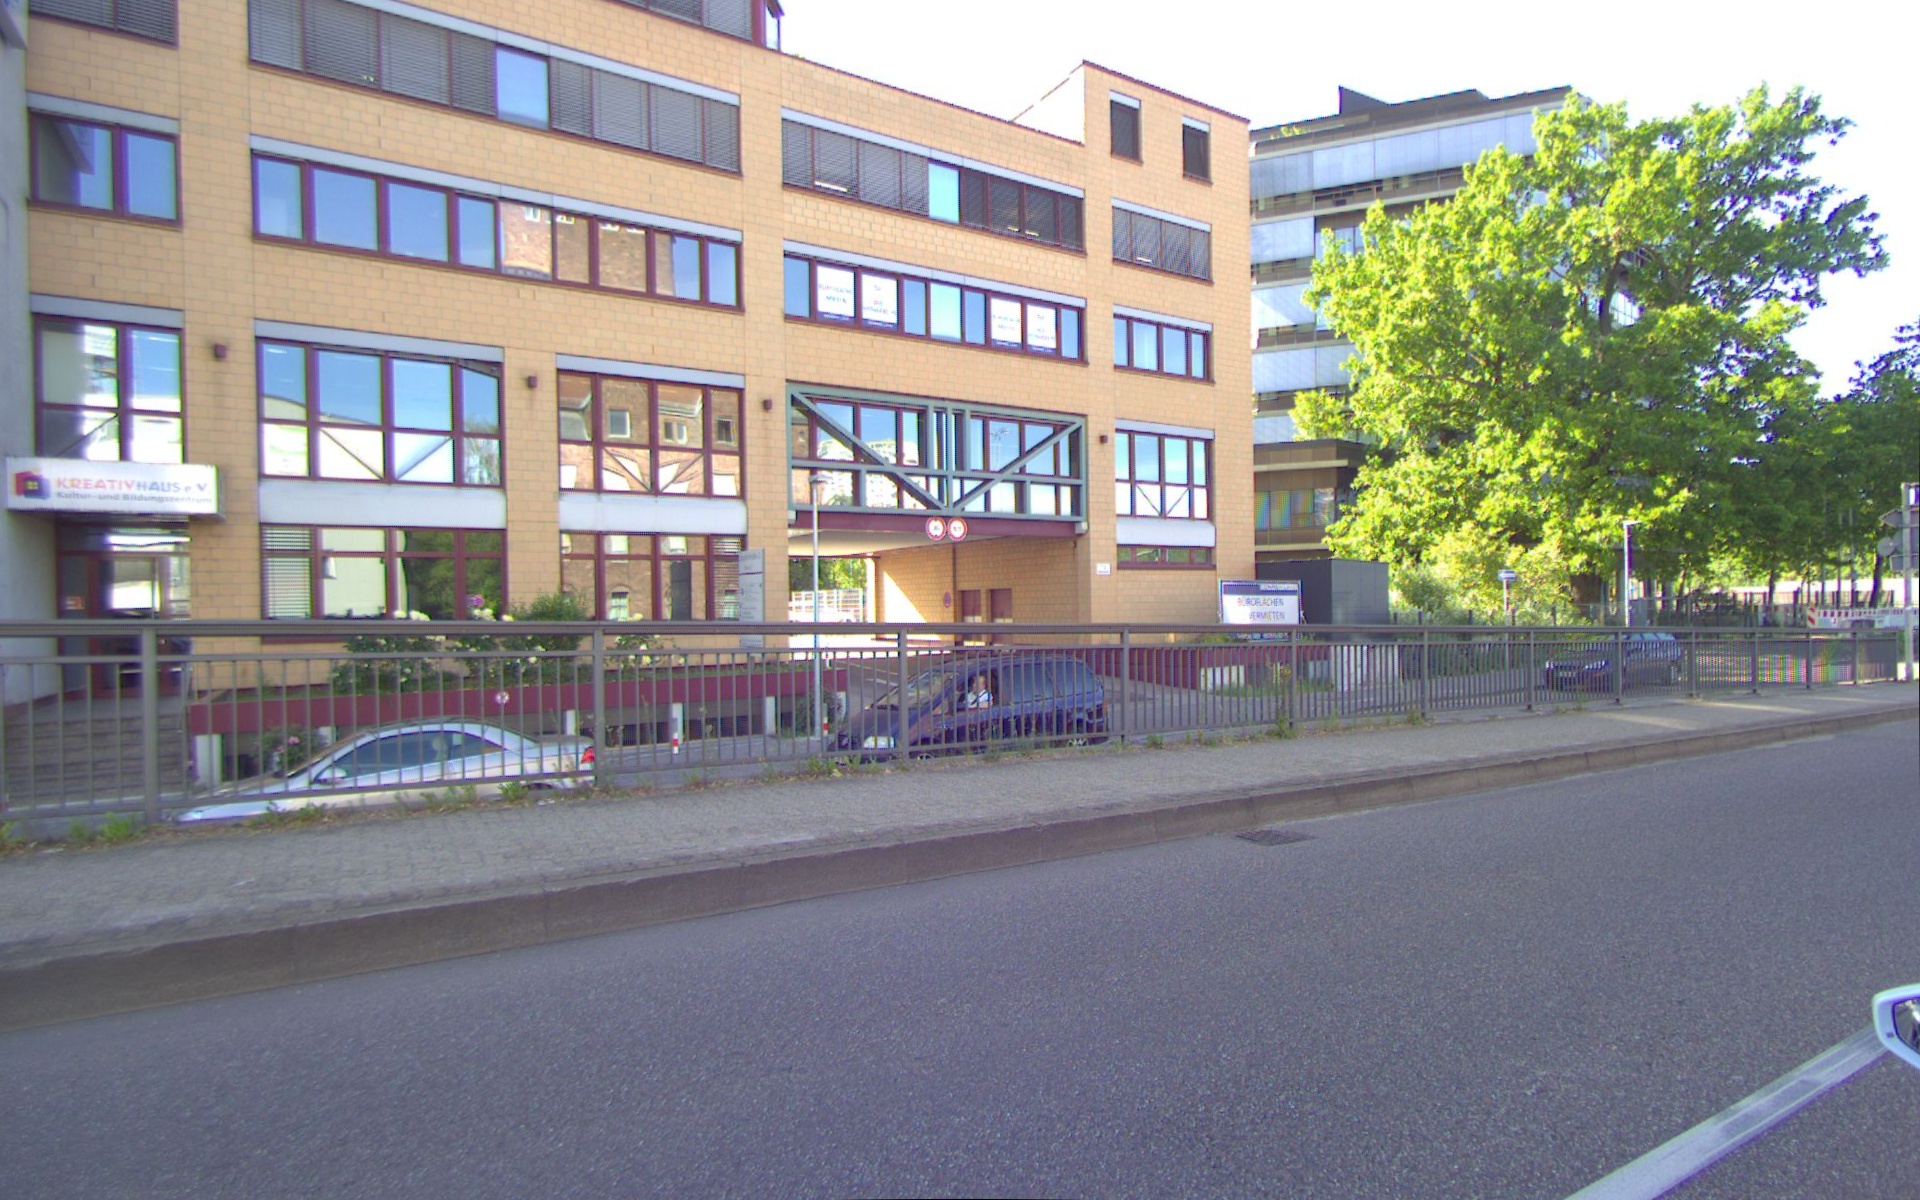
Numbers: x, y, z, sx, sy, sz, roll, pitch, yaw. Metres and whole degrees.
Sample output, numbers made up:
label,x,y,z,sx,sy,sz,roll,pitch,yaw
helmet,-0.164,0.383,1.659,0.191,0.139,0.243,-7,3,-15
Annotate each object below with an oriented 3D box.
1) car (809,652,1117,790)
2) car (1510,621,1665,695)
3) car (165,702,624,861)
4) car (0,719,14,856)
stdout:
label,x,y,z,sx,sy,sz,roll,pitch,yaw
car,0.137,1.689,15.205,4.541,1.669,1.710,0,-2,-35
car,16.430,1.457,26.273,3.953,1.715,1.843,-1,0,-30
car,-6.140,1.892,11.308,4.210,1.181,1.713,0,-2,-32
car,-10.603,1.796,8.313,3.766,1.286,1.567,0,-2,-32
